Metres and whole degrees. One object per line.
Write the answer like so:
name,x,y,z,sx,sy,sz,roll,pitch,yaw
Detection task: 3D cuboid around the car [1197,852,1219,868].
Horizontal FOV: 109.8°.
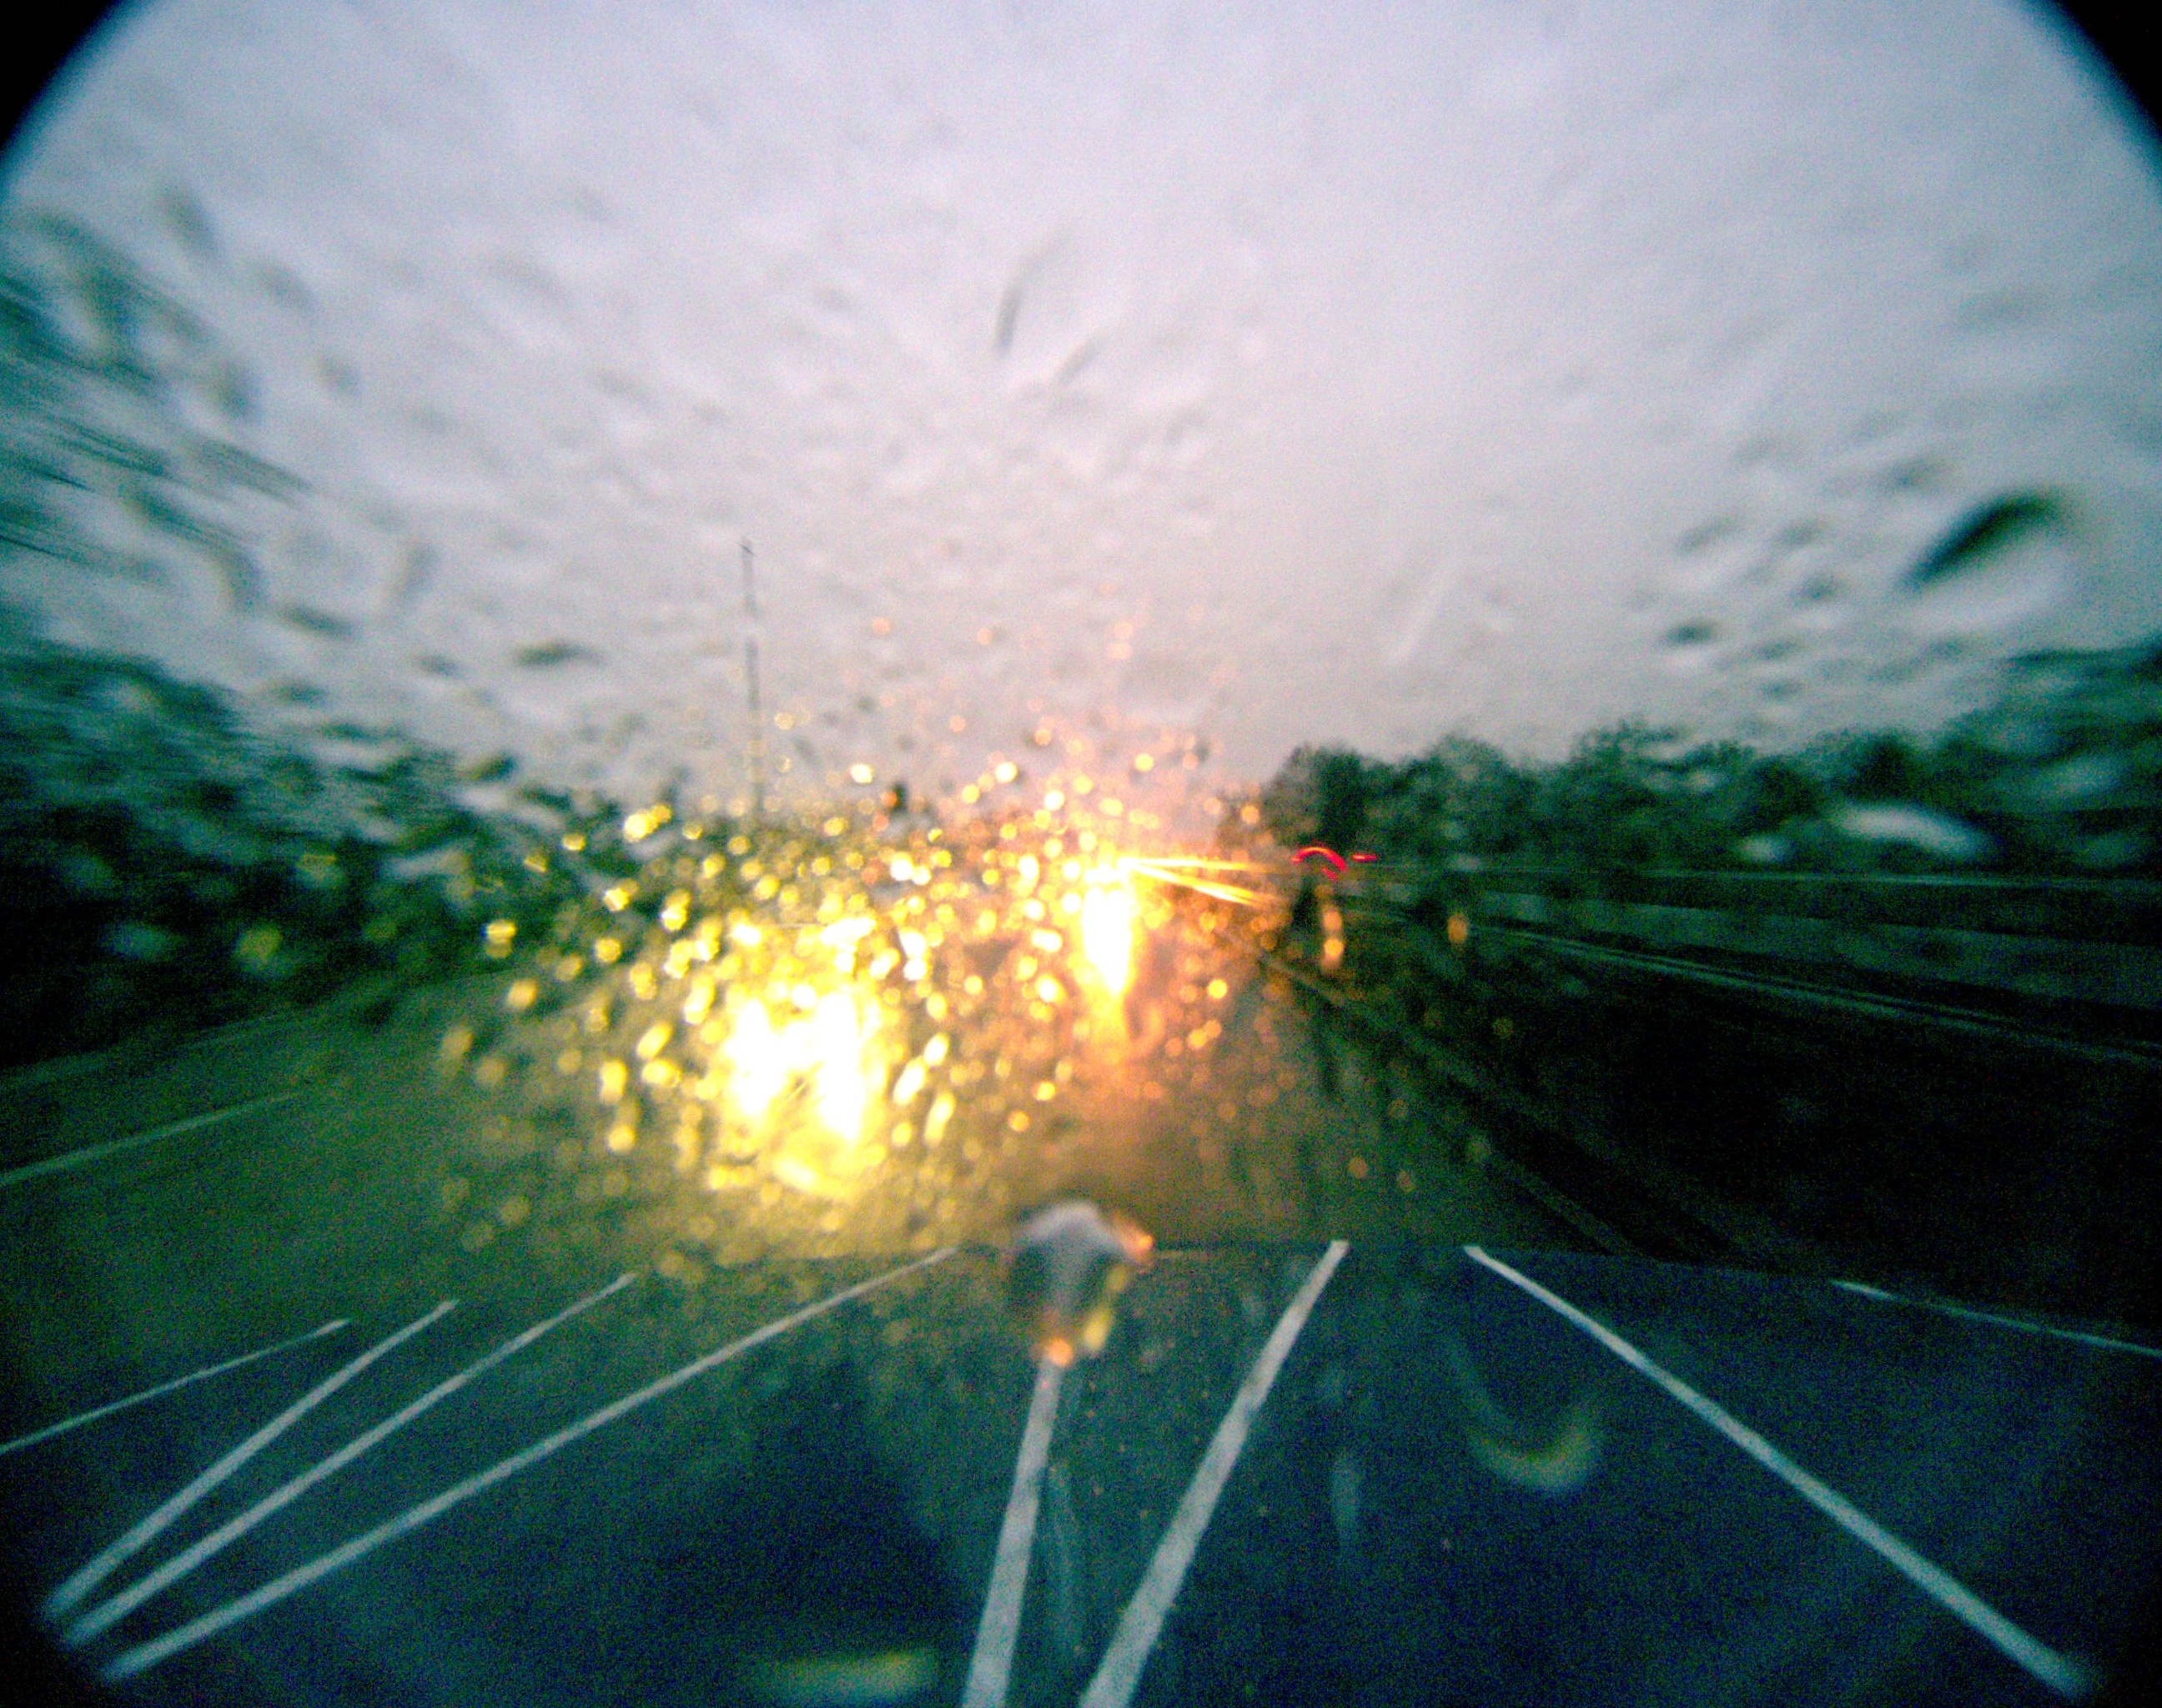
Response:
car,14.601,0.657,87.394,1.870,1.618,4.780,-2,0,2

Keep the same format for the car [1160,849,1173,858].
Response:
car,14.732,-0.099,131.824,1.870,1.441,4.646,-2,0,2

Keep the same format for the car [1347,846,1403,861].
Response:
car,24.848,-0.033,64.309,1.806,1.155,3.990,-2,0,-37

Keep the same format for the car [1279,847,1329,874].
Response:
car,12.520,0.351,42.891,1.701,1.433,3.681,-2,0,0

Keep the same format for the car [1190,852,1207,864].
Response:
car,16.434,0.506,106.416,1.870,1.618,4.646,-2,0,2

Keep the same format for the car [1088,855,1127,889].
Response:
car,1.281,0.836,37.727,1.758,1.521,4.000,-2,0,1

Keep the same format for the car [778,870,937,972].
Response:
car,-3.811,1.065,13.695,1.595,1.445,4.176,-2,0,0

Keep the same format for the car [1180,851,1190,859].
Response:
car,20.259,0.183,148.105,1.731,1.598,4.179,-2,0,3
